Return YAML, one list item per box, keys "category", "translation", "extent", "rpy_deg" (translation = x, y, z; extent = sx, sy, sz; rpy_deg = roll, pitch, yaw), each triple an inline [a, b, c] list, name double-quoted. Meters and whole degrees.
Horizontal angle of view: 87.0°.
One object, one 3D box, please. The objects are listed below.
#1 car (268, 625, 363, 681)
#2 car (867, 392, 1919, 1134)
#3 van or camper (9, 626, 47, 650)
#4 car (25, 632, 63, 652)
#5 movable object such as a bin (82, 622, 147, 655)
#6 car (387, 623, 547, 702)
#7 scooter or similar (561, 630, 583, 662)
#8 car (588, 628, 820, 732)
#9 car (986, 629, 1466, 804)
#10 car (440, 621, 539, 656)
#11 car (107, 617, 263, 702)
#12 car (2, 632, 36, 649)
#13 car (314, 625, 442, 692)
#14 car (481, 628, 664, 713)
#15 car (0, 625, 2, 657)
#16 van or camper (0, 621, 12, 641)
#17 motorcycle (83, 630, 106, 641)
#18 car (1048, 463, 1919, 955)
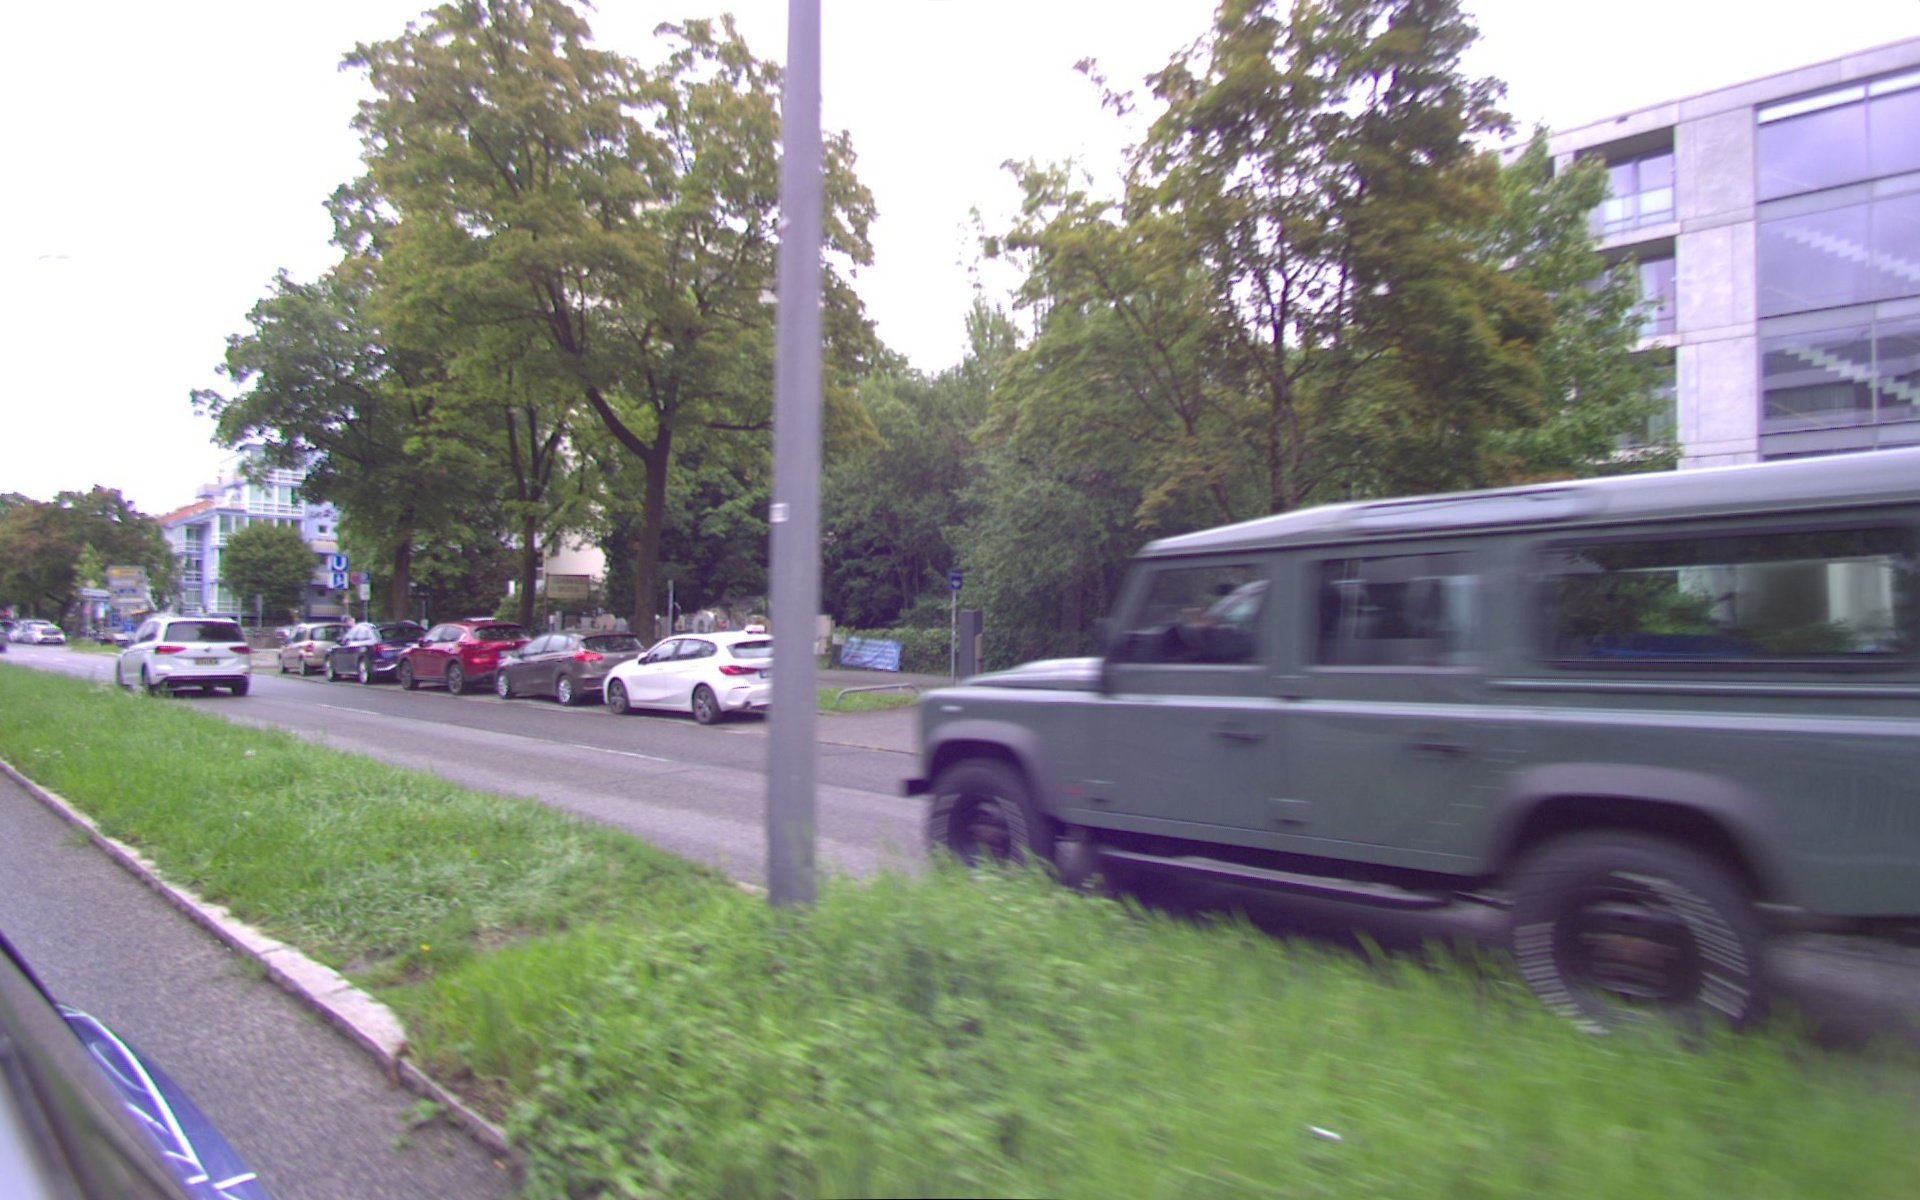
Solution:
- category: "car"
  translation: [-20.375, 1.626, 31.941]
  extent: [3.819, 1.626, 1.629]
  rpy_deg: [-2, -1, 43]
- category: "car"
  translation: [1.877, 0.509, 4.667]
  extent: [4.816, 2.045, 1.762]
  rpy_deg: [-2, -3, 41]
- category: "van or camper"
  translation: [-77.643, 3.142, 84.298]
  extent: [5.208, 1.983, 1.786]
  rpy_deg: [-2, -3, 41]
- category: "car"
  translation: [-70.089, 3.201, 77.429]
  extent: [3.899, 1.501, 1.630]
  rpy_deg: [-1, -3, 40]
- category: "movable object such as a bin"
  translation: [-52.248, 2.364, 62.521]
  extent: [3.992, 1.968, 2.173]
  rpy_deg: [-1, -3, 36]
- category: "car"
  translation: [-11.858, 1.419, 24.210]
  extent: [4.602, 1.664, 1.721]
  rpy_deg: [-2, 0, 40]
- category: "scooter or similar"
  translation: [-14.272, 1.684, 37.238]
  extent: [0.429, 1.135, 1.293]
  rpy_deg: [2, -3, -36]
- category: "car"
  translation: [-4.550, 1.287, 17.578]
  extent: [4.474, 1.541, 1.720]
  rpy_deg: [-2, -1, 42]
- category: "car"
  translation: [2.691, 1.083, 11.101]
  extent: [4.820, 1.459, 1.718]
  rpy_deg: [-2, 0, 41]
- category: "car"
  translation: [-22.676, 1.849, 48.892]
  extent: [1.749, 1.601, 3.943]
  rpy_deg: [-2, -3, 43]
- category: "car"
  translation: [-16.784, 1.238, 21.842]
  extent: [4.349, 1.655, 1.815]
  rpy_deg: [-2, -3, 41]
- category: "car"
  translation: [-82.296, 3.556, 88.492]
  extent: [4.331, 1.405, 1.658]
  rpy_deg: [-1, -3, 40]
- category: "car"
  translation: [-16.140, 1.549, 27.956]
  extent: [4.683, 1.656, 1.720]
  rpy_deg: [-2, -1, 42]
- category: "car"
  translation: [-8.038, 1.365, 20.786]
  extent: [4.332, 1.494, 1.720]
  rpy_deg: [-2, 0, 42]
- category: "car"
  translation: [-51.032, 2.114, 52.377]
  extent: [4.375, 1.637, 1.747]
  rpy_deg: [-2, -3, 42]
- category: "van or camper"
  translation: [-96.872, 3.134, 101.663]
  extent: [4.703, 1.957, 1.999]
  rpy_deg: [-1, -3, 42]
- category: "motorcycle"
  translation: [-94.322, 3.864, 110.266]
  extent: [0.463, 1.179, 1.792]
  rpy_deg: [-1, -3, 37]
- category: "car"
  translation: [3.576, 0.579, 6.685]
  extent: [5.796, 2.211, 2.186]
  rpy_deg: [-2, -4, 41]
